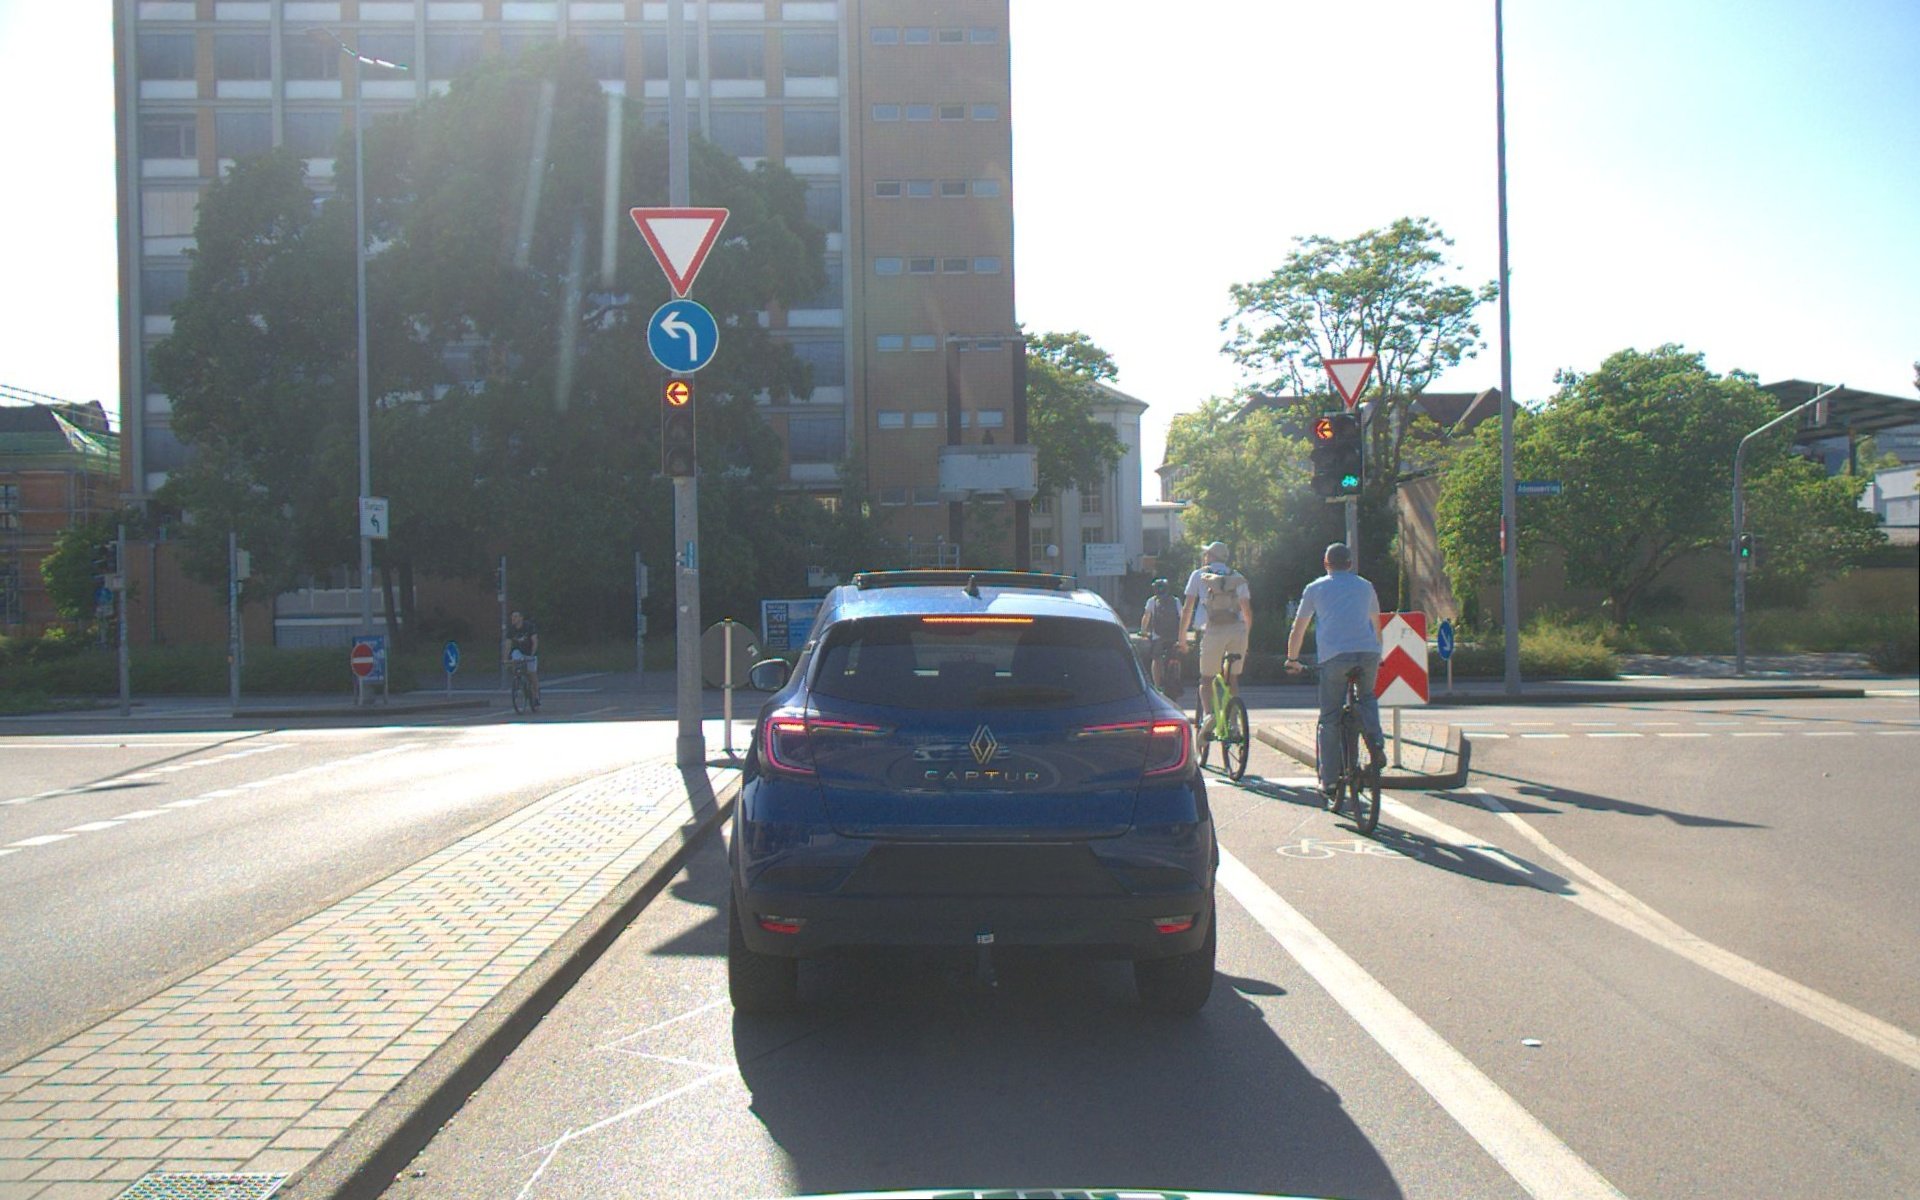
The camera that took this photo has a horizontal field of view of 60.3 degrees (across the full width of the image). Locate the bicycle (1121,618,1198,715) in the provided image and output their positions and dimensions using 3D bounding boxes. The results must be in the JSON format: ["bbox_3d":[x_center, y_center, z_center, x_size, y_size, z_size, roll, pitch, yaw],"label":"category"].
[{"bbox_3d":[2.587,0.842,21.598,0.731,1.185,1.870,-1,0,-1],"label":"bicycle"}]

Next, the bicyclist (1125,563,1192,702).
[{"bbox_3d":[2.575,0.414,21.552,0.705,1.765,0.977,-1,0,-1],"label":"bicyclist"}]

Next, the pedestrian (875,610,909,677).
[{"bbox_3d":[-1.861,1.175,45.303,0.718,1.813,0.732,1,-1,16],"label":"pedestrian"}]

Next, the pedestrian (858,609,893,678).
[{"bbox_3d":[-2.265,1.161,44.514,0.718,1.848,0.732,1,-1,16],"label":"pedestrian"}]

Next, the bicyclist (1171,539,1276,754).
[{"bbox_3d":[2.276,0.388,14.375,0.705,1.793,0.977,-1,0,-1],"label":"bicyclist"}]

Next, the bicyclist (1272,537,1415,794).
[{"bbox_3d":[2.577,0.425,11.203,0.705,1.645,0.977,-1,0,-1],"label":"bicyclist"}]

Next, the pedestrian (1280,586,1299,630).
[{"bbox_3d":[12.623,0.296,63.392,0.661,1.672,0.736,1,-1,15],"label":"pedestrian"}]

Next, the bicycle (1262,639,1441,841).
[{"bbox_3d":[2.584,0.881,11.121,0.701,1.185,1.870,-1,0,-1],"label":"bicycle"}]

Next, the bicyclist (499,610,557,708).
[{"bbox_3d":[-7.549,1.014,28.930,0.705,1.649,0.977,-2,0,-1],"label":"bicyclist"}]

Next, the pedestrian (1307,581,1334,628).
[{"bbox_3d":[13.044,0.168,59.813,0.665,1.672,0.732,0,-1,40],"label":"pedestrian"}]

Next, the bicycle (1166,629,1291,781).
[{"bbox_3d":[2.295,0.868,14.340,0.731,1.185,1.870,-1,0,-1],"label":"bicycle"}]

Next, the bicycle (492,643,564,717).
[{"bbox_3d":[-7.541,1.380,28.947,0.731,1.185,1.870,-2,0,-1],"label":"bicycle"}]

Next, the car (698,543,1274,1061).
[{"bbox_3d":[0.061,0.660,7.264,1.838,1.646,3.797,1,0,-1],"label":"car"}]
